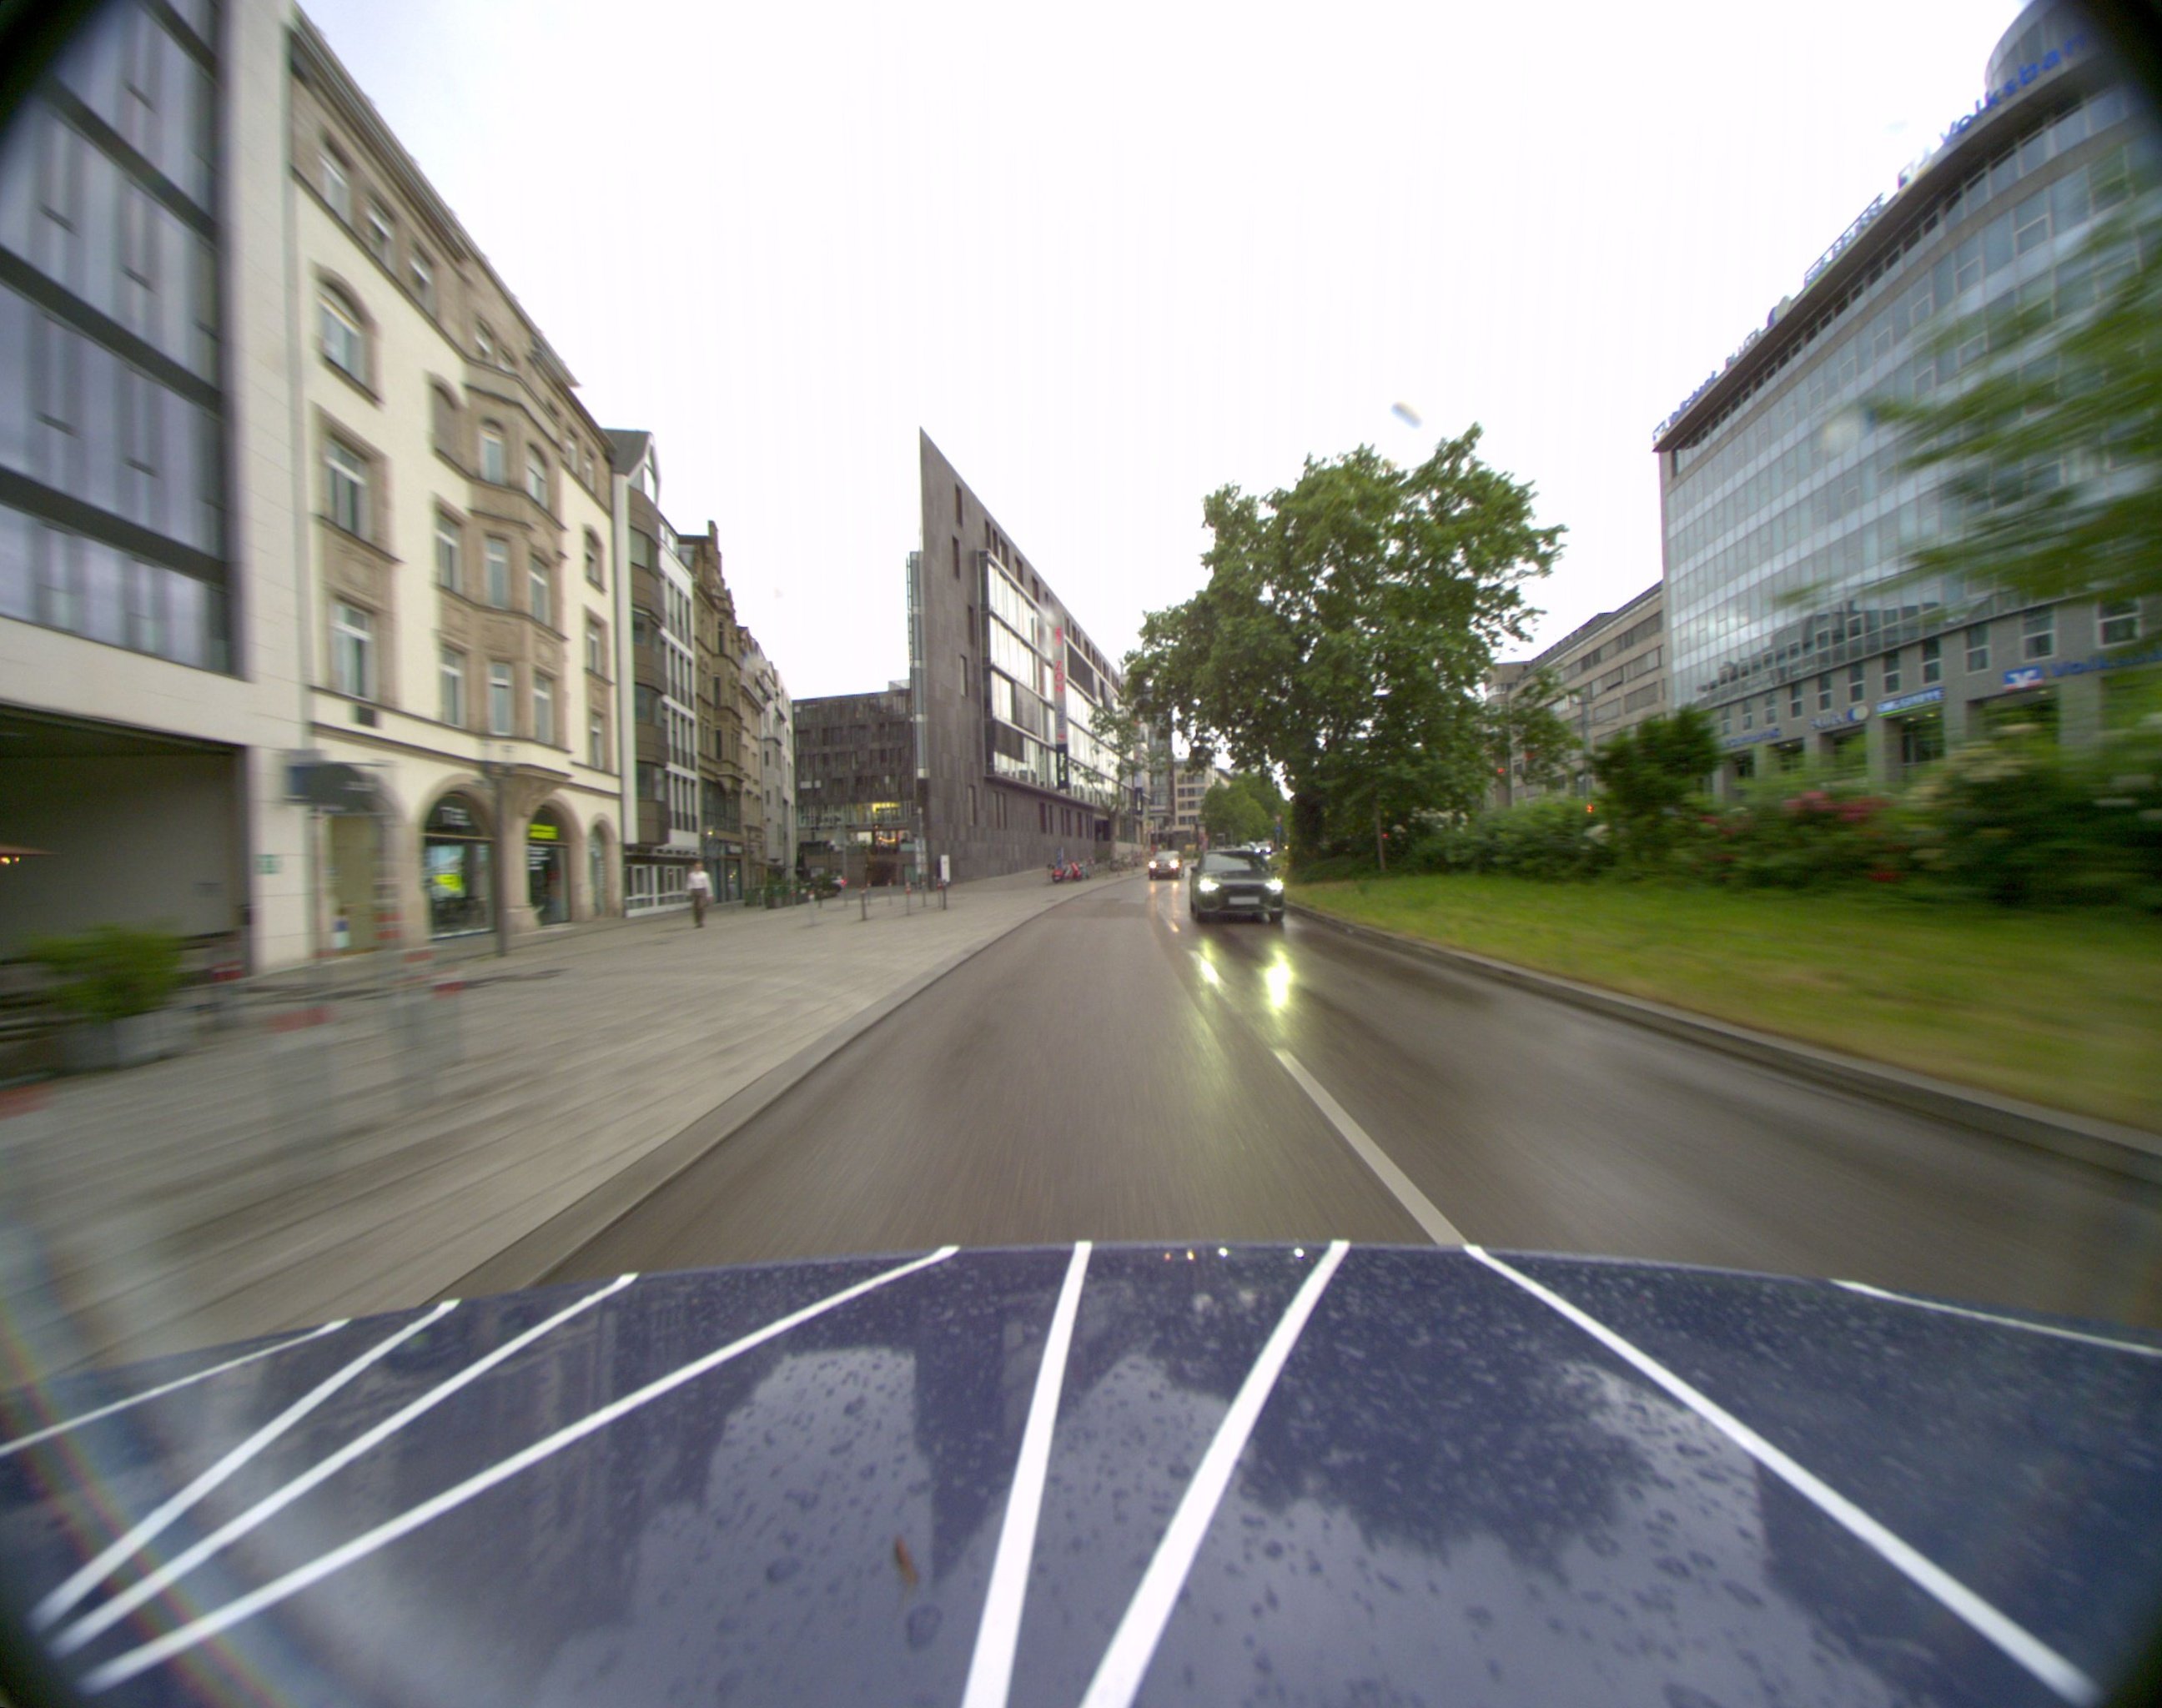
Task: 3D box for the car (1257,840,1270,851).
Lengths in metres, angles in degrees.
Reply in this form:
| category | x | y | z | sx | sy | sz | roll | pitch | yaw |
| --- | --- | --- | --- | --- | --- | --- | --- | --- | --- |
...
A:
| category | x | y | z | sx | sy | sz | roll | pitch | yaw |
| --- | --- | --- | --- | --- | --- | --- | --- | --- | --- |
| car | 24.605 | -1.133 | 102.215 | 1.604 | 1.377 | 3.022 | -4 | 0 | 15 |

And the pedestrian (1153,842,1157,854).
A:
| category | x | y | z | sx | sy | sz | roll | pitch | yaw |
| --- | --- | --- | --- | --- | --- | --- | --- | --- | --- |
| pedestrian | 10.534 | -0.814 | 108.689 | 0.484 | 1.690 | 0.580 | 0 | 2 | 13 |

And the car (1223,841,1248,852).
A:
| category | x | y | z | sx | sy | sz | roll | pitch | yaw |
| --- | --- | --- | --- | --- | --- | --- | --- | --- | --- |
| car | 28.656 | -1.330 | 140.831 | 2.003 | 1.801 | 4.202 | -4 | 0 | -40 |

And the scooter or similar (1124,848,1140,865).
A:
| category | x | y | z | sx | sy | sz | roll | pitch | yaw |
| --- | --- | --- | --- | --- | --- | --- | --- | --- | --- |
| scooter or similar | 3.835 | 0.174 | 56.795 | 1.107 | 1.251 | 0.302 | -2 | 2 | 8 |

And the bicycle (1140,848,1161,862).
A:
| category | x | y | z | sx | sy | sz | roll | pitch | yaw |
| --- | --- | --- | --- | --- | --- | --- | --- | --- | --- |
| bicycle | 5.948 | 0.104 | 64.718 | 1.733 | 1.176 | 0.689 | -1 | 1 | 9 |

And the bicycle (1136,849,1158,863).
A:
| category | x | y | z | sx | sy | sz | roll | pitch | yaw |
| --- | --- | --- | --- | --- | --- | --- | --- | --- | --- |
| bicycle | 5.482 | 0.149 | 63.061 | 1.733 | 1.134 | 0.689 | -1 | 1 | 9 |

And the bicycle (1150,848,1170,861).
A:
| category | x | y | z | sx | sy | sz | roll | pitch | yaw |
| --- | --- | --- | --- | --- | --- | --- | --- | --- | --- |
| bicycle | 6.982 | 0.044 | 67.343 | 1.733 | 1.176 | 0.689 | -1 | 1 | 9 |

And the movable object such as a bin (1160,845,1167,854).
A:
| category | x | y | z | sx | sy | sz | roll | pitch | yaw |
| --- | --- | --- | --- | --- | --- | --- | --- | --- | --- |
| movable object such as a bin | 11.660 | -0.611 | 107.110 | 0.804 | 1.258 | 1.789 | 0 | 1 | 13 |

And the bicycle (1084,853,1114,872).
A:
| category | x | y | z | sx | sy | sz | roll | pitch | yaw |
| --- | --- | --- | --- | --- | --- | --- | --- | --- | --- |
| bicycle | 1.189 | 0.578 | 49.372 | 1.797 | 1.101 | 0.670 | -3 | 2 | 9 |

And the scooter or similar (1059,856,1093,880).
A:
| category | x | y | z | sx | sy | sz | roll | pitch | yaw |
| --- | --- | --- | --- | --- | --- | --- | --- | --- | --- |
| scooter or similar | -0.273 | 0.771 | 42.710 | 1.795 | 1.236 | 0.596 | -3 | 2 | 9 |

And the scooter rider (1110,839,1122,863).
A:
| category | x | y | z | sx | sy | sz | roll | pitch | yaw |
| --- | --- | --- | --- | --- | --- | --- | --- | --- | --- |
| scooter rider | 3.037 | -0.273 | 66.448 | 0.779 | 2.009 | 0.925 | -1 | 1 | 18 |

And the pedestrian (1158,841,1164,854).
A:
| category | x | y | z | sx | sy | sz | roll | pitch | yaw |
| --- | --- | --- | --- | --- | --- | --- | --- | --- | --- |
| pedestrian | 11.416 | -0.893 | 108.478 | 0.722 | 1.820 | 0.747 | 0 | 2 | 13 |

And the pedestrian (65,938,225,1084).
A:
| category | x | y | z | sx | sy | sz | roll | pitch | yaw |
| --- | --- | --- | --- | --- | --- | --- | --- | --- | --- |
| pedestrian | -9.432 | 1.564 | 7.678 | 0.775 | 1.319 | 0.636 | -4 | 1 | 10 |

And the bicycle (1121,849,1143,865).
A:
| category | x | y | z | sx | sy | sz | roll | pitch | yaw |
| --- | --- | --- | --- | --- | --- | --- | --- | --- | --- |
| bicycle | 3.889 | 0.211 | 57.984 | 1.537 | 1.134 | 0.663 | -2 | 2 | 9 |

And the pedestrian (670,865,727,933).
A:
| category | x | y | z | sx | sy | sz | roll | pitch | yaw |
| --- | --- | --- | --- | --- | --- | --- | --- | --- | --- |
| pedestrian | -11.175 | 1.302 | 22.259 | 0.874 | 1.827 | 1.249 | -4 | 2 | 1 |

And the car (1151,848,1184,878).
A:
| category | x | y | z | sx | sy | sz | roll | pitch | yaw |
| --- | --- | --- | --- | --- | --- | --- | --- | --- | --- |
| car | 4.755 | 0.454 | 41.434 | 1.594 | 1.501 | 3.711 | -2 | 1 | 8 |

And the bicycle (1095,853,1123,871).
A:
| category | x | y | z | sx | sy | sz | roll | pitch | yaw |
| --- | --- | --- | --- | --- | --- | --- | --- | --- | --- |
| bicycle | 1.880 | 0.523 | 51.063 | 1.797 | 1.062 | 0.557 | -3 | 2 | 10 |

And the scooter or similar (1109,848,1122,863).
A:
| category | x | y | z | sx | sy | sz | roll | pitch | yaw |
| --- | --- | --- | --- | --- | --- | --- | --- | --- | --- |
| scooter or similar | 3.049 | 0.108 | 66.475 | 0.779 | 1.298 | 1.336 | -1 | 1 | 18 |

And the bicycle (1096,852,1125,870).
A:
| category | x | y | z | sx | sy | sz | roll | pitch | yaw |
| --- | --- | --- | --- | --- | --- | --- | --- | --- | --- |
| bicycle | 2.013 | 0.486 | 51.651 | 1.797 | 1.062 | 0.557 | -3 | 2 | 10 |

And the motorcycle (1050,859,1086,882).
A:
| category | x | y | z | sx | sy | sz | roll | pitch | yaw |
| --- | --- | --- | --- | --- | --- | --- | --- | --- | --- |
| motorcycle | -0.700 | 0.879 | 41.672 | 1.795 | 1.133 | 0.596 | -3 | 2 | 9 |

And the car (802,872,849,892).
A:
| category | x | y | z | sx | sy | sz | roll | pitch | yaw |
| --- | --- | --- | --- | --- | --- | --- | --- | --- | --- |
| car | -24.199 | 2.645 | 71.991 | 4.072 | 1.608 | 1.701 | -4 | 1 | -20 |

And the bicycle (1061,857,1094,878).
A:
| category | x | y | z | sx | sy | sz | roll | pitch | yaw |
| --- | --- | --- | --- | --- | --- | --- | --- | --- | --- |
| bicycle | -0.209 | 0.798 | 44.187 | 1.797 | 1.101 | 0.670 | -3 | 2 | 9 |

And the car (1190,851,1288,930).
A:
| category | x | y | z | sx | sy | sz | roll | pitch | yaw |
| --- | --- | --- | --- | --- | --- | --- | --- | --- | --- |
| car | 3.529 | 0.750 | 17.696 | 1.864 | 1.509 | 4.347 | -2 | 1 | 8 |

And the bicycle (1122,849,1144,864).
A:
| category | x | y | z | sx | sy | sz | roll | pitch | yaw |
| --- | --- | --- | --- | --- | --- | --- | --- | --- | --- |
| bicycle | 4.024 | 0.189 | 58.767 | 1.537 | 1.134 | 0.689 | -2 | 2 | 9 |

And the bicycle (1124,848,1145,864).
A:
| category | x | y | z | sx | sy | sz | roll | pitch | yaw |
| --- | --- | --- | --- | --- | --- | --- | --- | --- | --- |
| bicycle | 4.181 | 0.150 | 59.534 | 1.537 | 1.134 | 0.689 | -2 | 2 | 9 |

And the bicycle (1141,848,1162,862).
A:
| category | x | y | z | sx | sy | sz | roll | pitch | yaw |
| --- | --- | --- | --- | --- | --- | --- | --- | --- | --- |
| bicycle | 6.111 | 0.094 | 65.612 | 1.733 | 1.176 | 0.689 | -1 | 1 | 9 |

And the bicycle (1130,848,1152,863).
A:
| category | x | y | z | sx | sy | sz | roll | pitch | yaw |
| --- | --- | --- | --- | --- | --- | --- | --- | --- | --- |
| bicycle | 4.759 | 0.108 | 60.170 | 1.709 | 1.134 | 0.689 | -2 | 2 | 9 |

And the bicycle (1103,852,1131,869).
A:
| category | x | y | z | sx | sy | sz | roll | pitch | yaw |
| --- | --- | --- | --- | --- | --- | --- | --- | --- | --- |
| bicycle | 2.476 | 0.440 | 52.518 | 1.797 | 1.062 | 0.557 | -3 | 2 | 10 |

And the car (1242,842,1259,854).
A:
| category | x | y | z | sx | sy | sz | roll | pitch | yaw |
| --- | --- | --- | --- | --- | --- | --- | --- | --- | --- |
| car | 25.103 | -0.963 | 112.447 | 2.070 | 1.578 | 4.111 | -4 | 0 | 15 |

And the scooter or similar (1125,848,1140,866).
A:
| category | x | y | z | sx | sy | sz | roll | pitch | yaw |
| --- | --- | --- | --- | --- | --- | --- | --- | --- | --- |
| scooter or similar | 3.840 | 0.219 | 56.421 | 1.062 | 1.251 | 0.302 | -2 | 2 | 8 |
